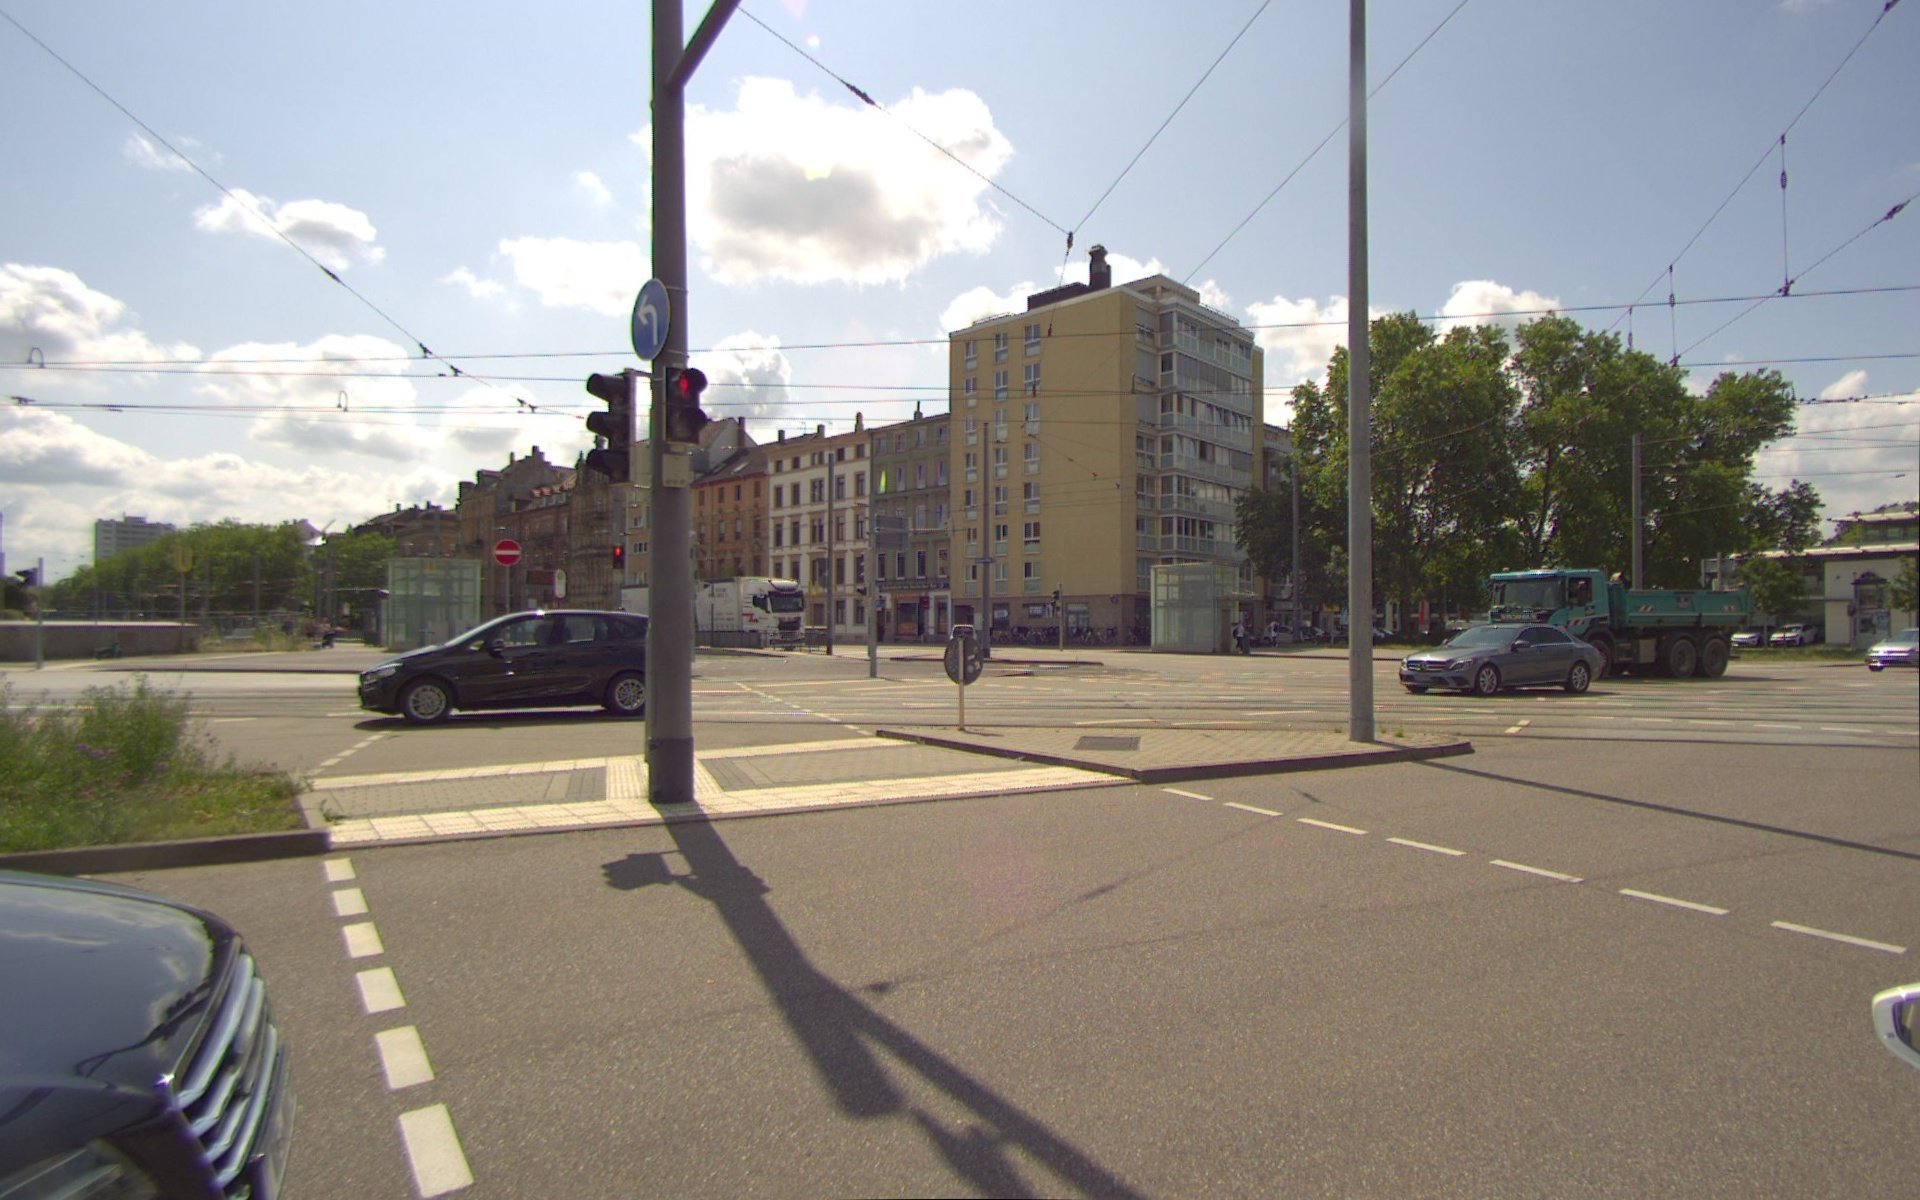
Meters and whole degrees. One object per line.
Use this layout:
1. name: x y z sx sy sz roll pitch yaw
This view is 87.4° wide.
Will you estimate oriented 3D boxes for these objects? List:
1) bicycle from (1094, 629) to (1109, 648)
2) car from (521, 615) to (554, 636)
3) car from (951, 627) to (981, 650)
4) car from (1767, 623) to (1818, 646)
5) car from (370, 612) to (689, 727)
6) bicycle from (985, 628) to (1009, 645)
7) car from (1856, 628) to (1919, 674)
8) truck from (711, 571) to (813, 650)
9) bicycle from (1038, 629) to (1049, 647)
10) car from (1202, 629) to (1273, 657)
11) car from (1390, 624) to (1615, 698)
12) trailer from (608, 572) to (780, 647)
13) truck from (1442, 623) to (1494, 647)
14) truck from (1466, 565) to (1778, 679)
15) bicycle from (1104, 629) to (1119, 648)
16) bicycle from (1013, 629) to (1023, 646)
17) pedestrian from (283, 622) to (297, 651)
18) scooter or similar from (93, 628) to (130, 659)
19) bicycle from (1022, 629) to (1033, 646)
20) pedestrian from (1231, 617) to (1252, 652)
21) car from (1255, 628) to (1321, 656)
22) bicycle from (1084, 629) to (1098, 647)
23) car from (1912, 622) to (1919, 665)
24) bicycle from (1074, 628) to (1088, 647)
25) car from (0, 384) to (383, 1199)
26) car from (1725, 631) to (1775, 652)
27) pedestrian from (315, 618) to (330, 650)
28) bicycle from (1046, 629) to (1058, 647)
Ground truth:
1. bicycle: 9.140 2.458 64.848 0.523 1.162 2.134 2 -1 -3
2. car: -50.716 3.068 120.624 4.060 2.374 1.990 1 -1 41
3. car: 0.381 2.338 61.882 1.625 1.338 3.358 0 -2 5
4. car: 64.851 2.685 78.279 4.135 1.595 1.981 3 -1 -34
5. car: -6.231 0.958 14.747 4.102 1.488 1.646 1 -2 -29
6. bicycle: 2.596 2.586 70.973 0.523 1.162 1.923 3 -1 -42
7. car: 31.712 1.650 33.048 4.209 1.452 1.650 1 -2 -22
8. truck: -10.775 0.551 54.502 5.372 4.021 2.693 1 -1 43
9. bicycle: 5.619 2.522 67.653 0.501 1.162 2.135 2 -1 -1
10. car: 17.921 2.765 64.957 4.060 1.687 1.858 1 -2 44
11. car: 11.279 1.211 20.832 4.710 1.410 1.648 1 -2 -25
12. trailer: -16.039 0.477 59.394 13.844 4.021 2.693 1 -2 43
13. truck: 46.546 3.169 92.004 4.717 2.148 1.797 1 -2 -27
14. truck: 18.670 0.655 28.291 8.661 2.890 2.881 1 -1 -21
15. bicycle: 9.759 2.448 64.673 0.502 1.162 2.134 2 -1 -4
16. bicycle: 3.968 2.573 69.037 0.501 1.162 2.135 2 -1 -1
17. pedestrian: -42.771 2.336 64.098 0.609 1.816 0.525 2 -1 -24
18. scooter or similar: -31.032 1.584 36.748 0.238 1.104 1.131 2 -1 7
19. bicycle: 4.614 2.553 68.633 0.501 1.162 2.135 2 -1 -1
20. pedestrian: 13.627 1.670 48.611 0.848 1.654 1.025 2 -1 22
21. car: 23.794 3.046 72.896 4.054 1.883 1.973 1 -2 44
22. bicycle: 8.486 2.453 65.180 0.502 1.162 2.134 2 -1 -4
23. car: 42.221 1.816 41.846 4.666 1.824 1.717 1 -2 -18
24. bicycle: 7.880 2.443 65.419 0.502 1.162 2.134 2 -1 -4
25. car: -3.212 0.597 0.786 4.735 1.663 1.919 1 -1 -30
26. car: 63.574 3.331 80.783 4.135 1.595 1.981 3 -1 -34
27. pedestrian: -36.929 1.979 58.197 0.609 1.816 0.525 2 -1 -24
28. bicycle: 6.164 2.524 67.400 0.501 1.162 2.135 2 -1 -1
